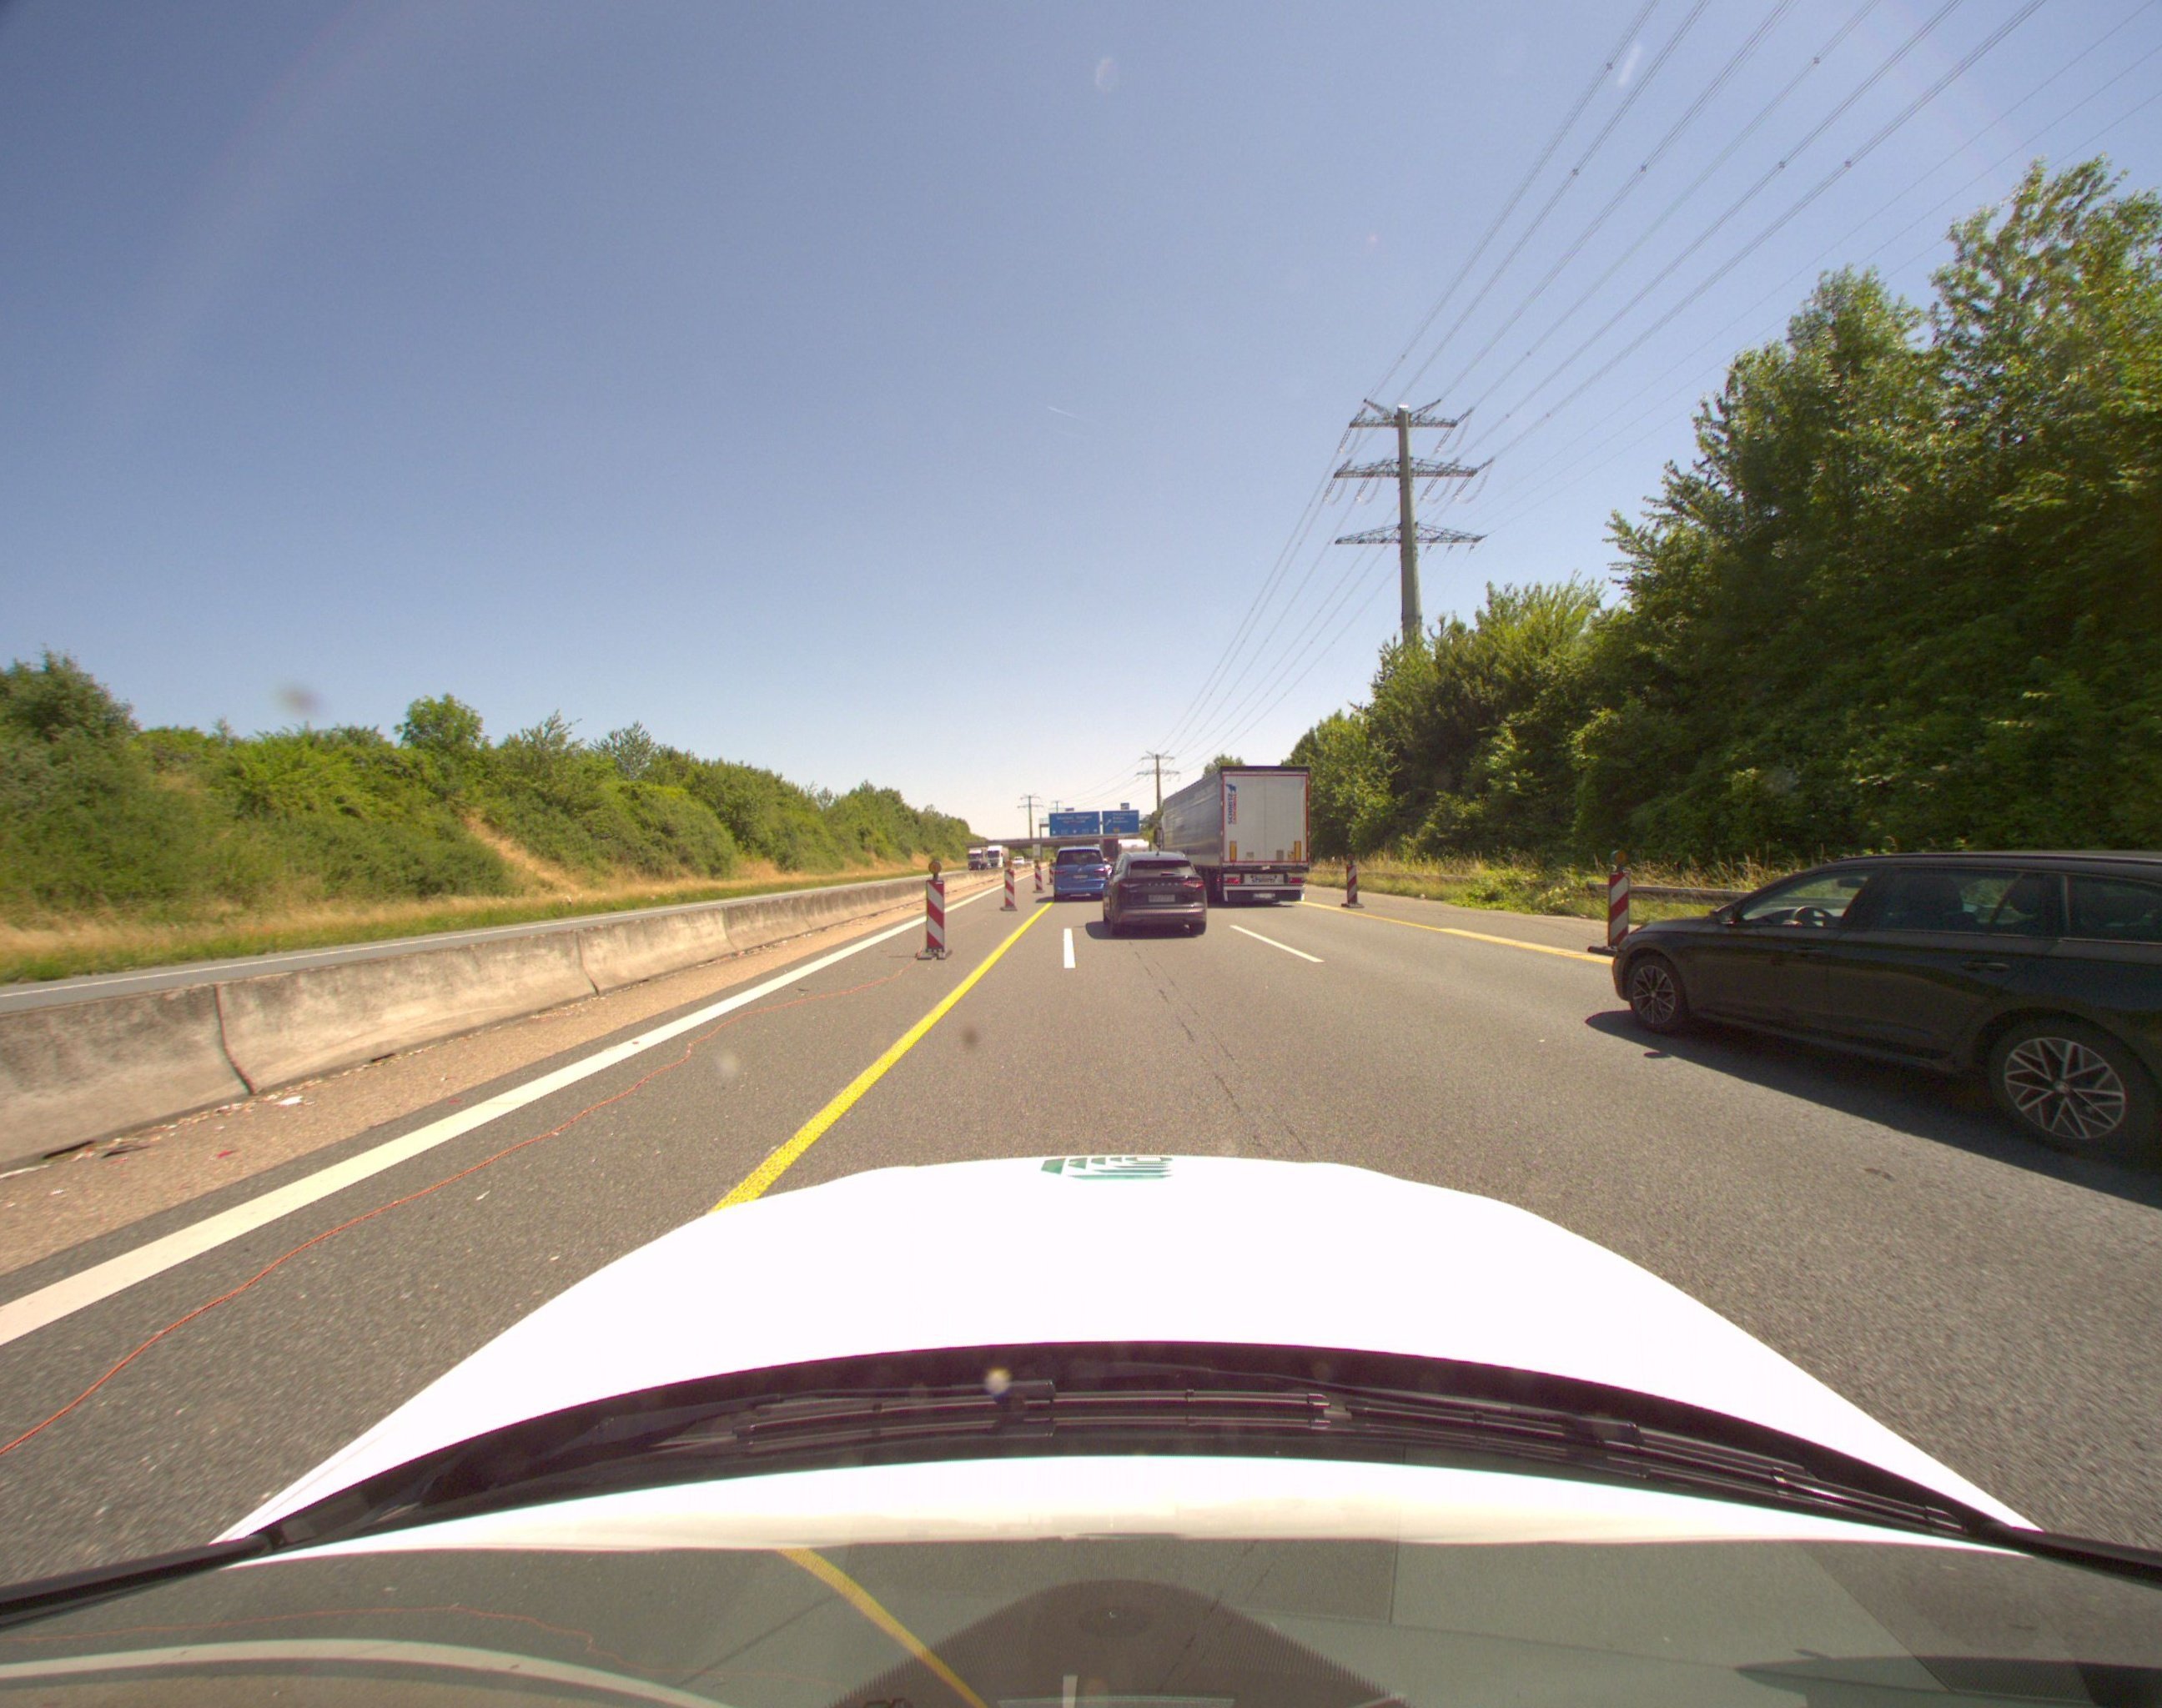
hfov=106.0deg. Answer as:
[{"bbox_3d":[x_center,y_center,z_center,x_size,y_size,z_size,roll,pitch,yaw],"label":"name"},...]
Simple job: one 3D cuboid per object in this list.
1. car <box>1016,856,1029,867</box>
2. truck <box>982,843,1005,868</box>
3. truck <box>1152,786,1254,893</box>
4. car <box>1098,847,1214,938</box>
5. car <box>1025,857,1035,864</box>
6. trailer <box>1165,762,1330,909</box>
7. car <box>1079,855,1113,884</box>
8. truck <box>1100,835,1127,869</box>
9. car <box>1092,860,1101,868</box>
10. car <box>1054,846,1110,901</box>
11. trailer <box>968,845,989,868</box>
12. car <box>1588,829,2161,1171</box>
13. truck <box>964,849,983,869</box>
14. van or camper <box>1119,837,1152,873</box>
[{"bbox_3d":[-10.500,1.286,146.639,1.860,1.792,5.455,-2,0,0],"label":"car"},{"bbox_3d":[-15.505,0.206,145.520,3.154,4.224,7.413,-2,0,0],"label":"truck"},{"bbox_3d":[5.073,-0.544,35.486,3.016,4.087,7.790,-1,0,-2],"label":"truck"},{"bbox_3d":[1.410,0.691,16.962,1.890,1.592,4.440,-1,0,-1],"label":"car"},{"bbox_3d":[-11.073,1.443,176.183,1.756,1.471,4.635,-2,0,1],"label":"car"},{"bbox_3d":[5.251,-0.514,28.507,3.057,4.042,11.479,-1,0,-2],"label":"trailer"},{"bbox_3d":[0.871,0.887,49.356,1.890,1.509,4.441,1,1,-1],"label":"car"},{"bbox_3d":[4.163,-0.203,107.003,3.067,4.146,13.055,-2,0,1],"label":"truck"},{"bbox_3d":[3.422,2.184,182.833,1.890,1.509,4.441,1,1,-1],"label":"car"},{"bbox_3d":[-0.022,0.711,29.924,1.890,1.841,4.439,0,-1,-1],"label":"car"},{"bbox_3d":[-19.177,0.477,152.911,2.473,4.180,12.080,-2,0,-1],"label":"trailer"},{"bbox_3d":[5.551,0.639,5.186,1.774,1.489,4.461,0,0,-2],"label":"car"},{"bbox_3d":[-19.090,0.892,145.110,2.457,3.288,6.921,-2,0,-1],"label":"truck"},{"bbox_3d":[4.650,0.054,70.612,2.577,2.968,6.085,0,0,1],"label":"van or camper"}]
